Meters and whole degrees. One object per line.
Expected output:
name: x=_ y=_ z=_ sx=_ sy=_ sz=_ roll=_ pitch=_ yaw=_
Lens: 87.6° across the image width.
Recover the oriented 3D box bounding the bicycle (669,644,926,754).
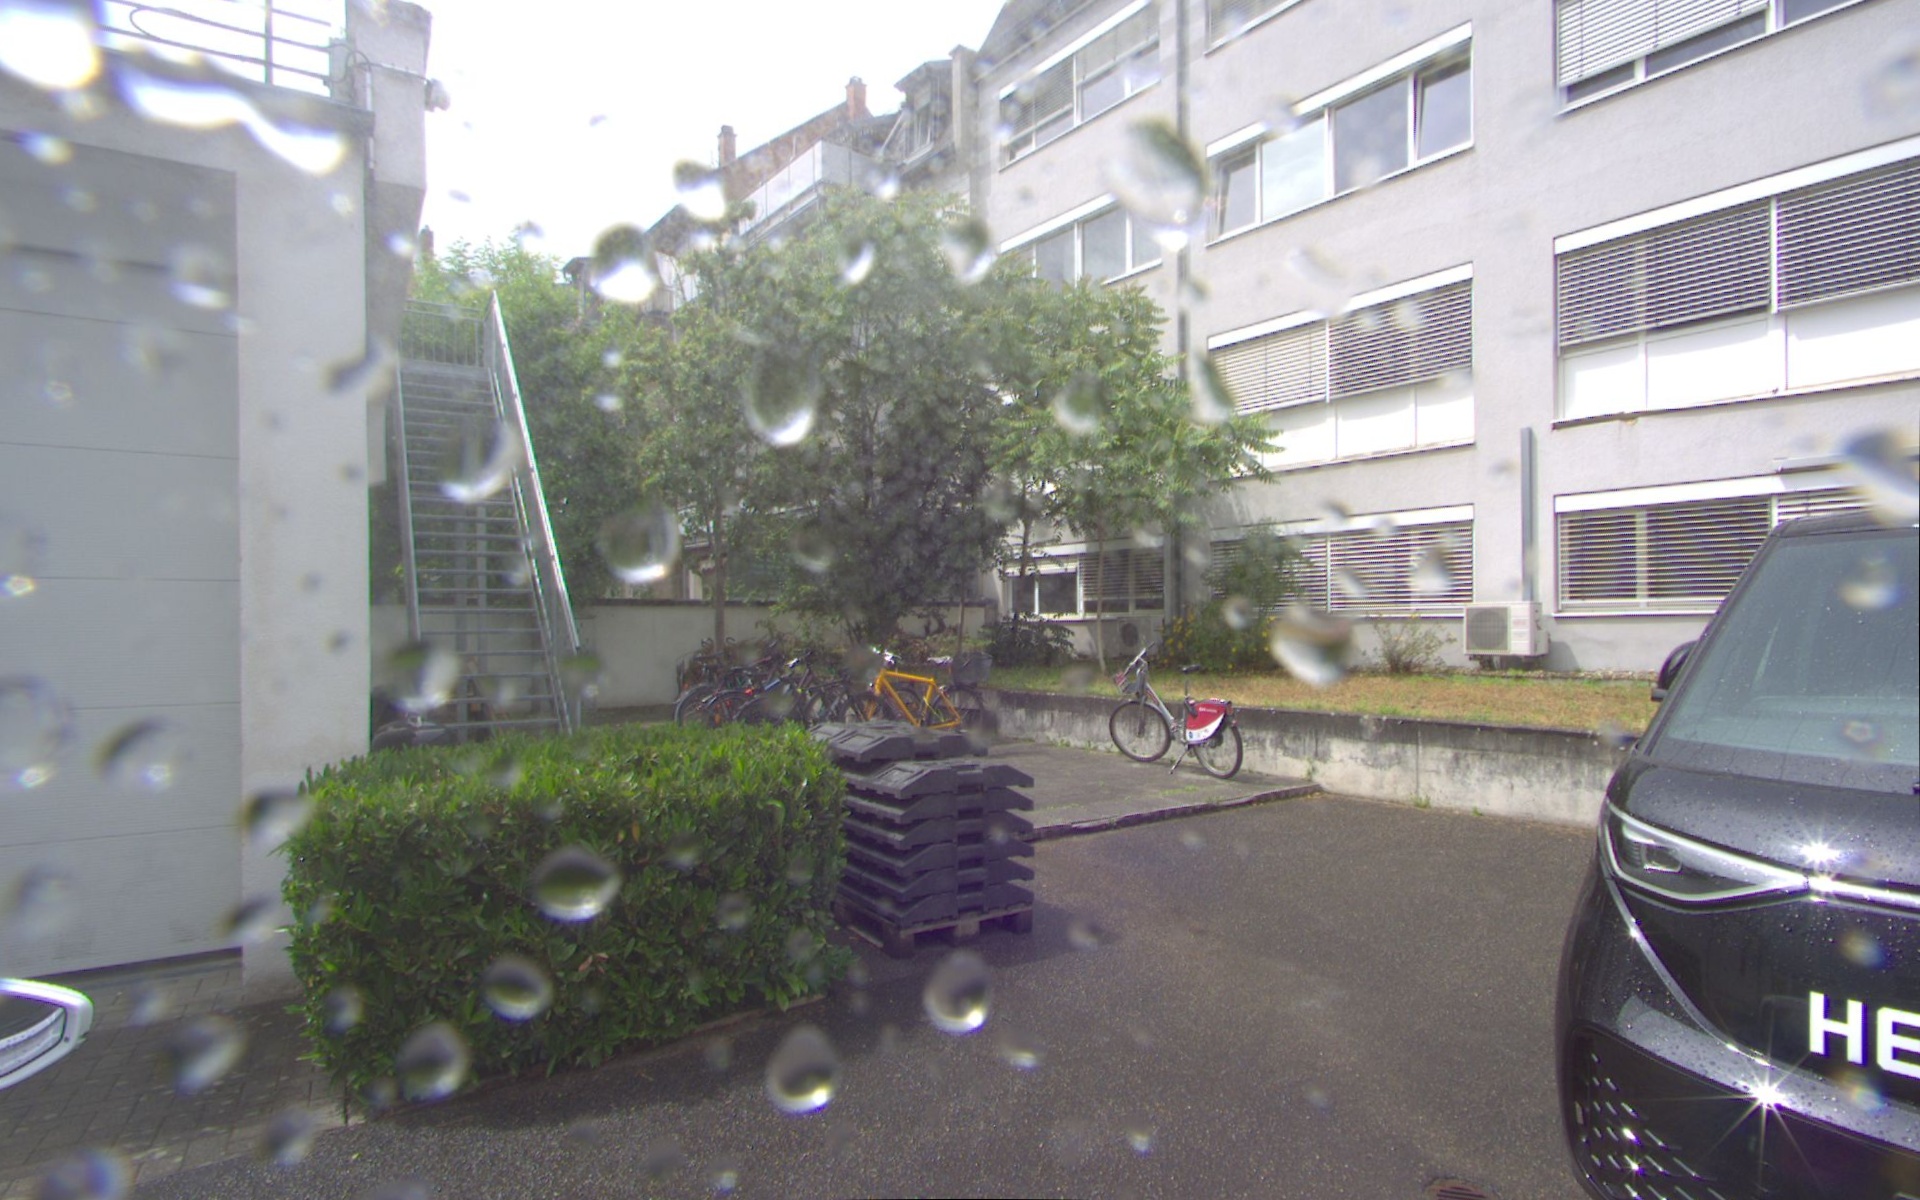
bicycle: x=-1.752 y=1.080 z=11.243 sx=2.817 sy=1.092 sz=0.684 roll=3 pitch=-1 yaw=-35

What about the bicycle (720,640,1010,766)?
bicycle: x=-0.864 y=0.981 z=9.963 sx=2.897 sy=1.092 sz=0.684 roll=3 pitch=-1 yaw=-35

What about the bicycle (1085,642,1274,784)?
bicycle: x=1.989 y=0.988 z=9.288 sx=0.609 sy=1.173 sz=1.709 roll=0 pitch=-1 yaw=-38

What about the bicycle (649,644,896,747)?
bicycle: x=-2.151 y=1.096 z=11.831 sx=2.817 sy=1.092 sz=0.684 roll=3 pitch=-1 yaw=-35

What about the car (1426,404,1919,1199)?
car: x=3.513 y=0.605 z=2.898 sx=4.670 sy=1.857 sz=2.094 roll=0 pitch=-1 yaw=-39

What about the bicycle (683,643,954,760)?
bicycle: x=-1.426 y=1.037 z=10.593 sx=2.817 sy=1.092 sz=0.684 roll=3 pitch=-1 yaw=-35

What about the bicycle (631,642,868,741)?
bicycle: x=-2.547 y=1.108 z=12.412 sx=2.817 sy=1.092 sz=0.684 roll=3 pitch=-1 yaw=-35
